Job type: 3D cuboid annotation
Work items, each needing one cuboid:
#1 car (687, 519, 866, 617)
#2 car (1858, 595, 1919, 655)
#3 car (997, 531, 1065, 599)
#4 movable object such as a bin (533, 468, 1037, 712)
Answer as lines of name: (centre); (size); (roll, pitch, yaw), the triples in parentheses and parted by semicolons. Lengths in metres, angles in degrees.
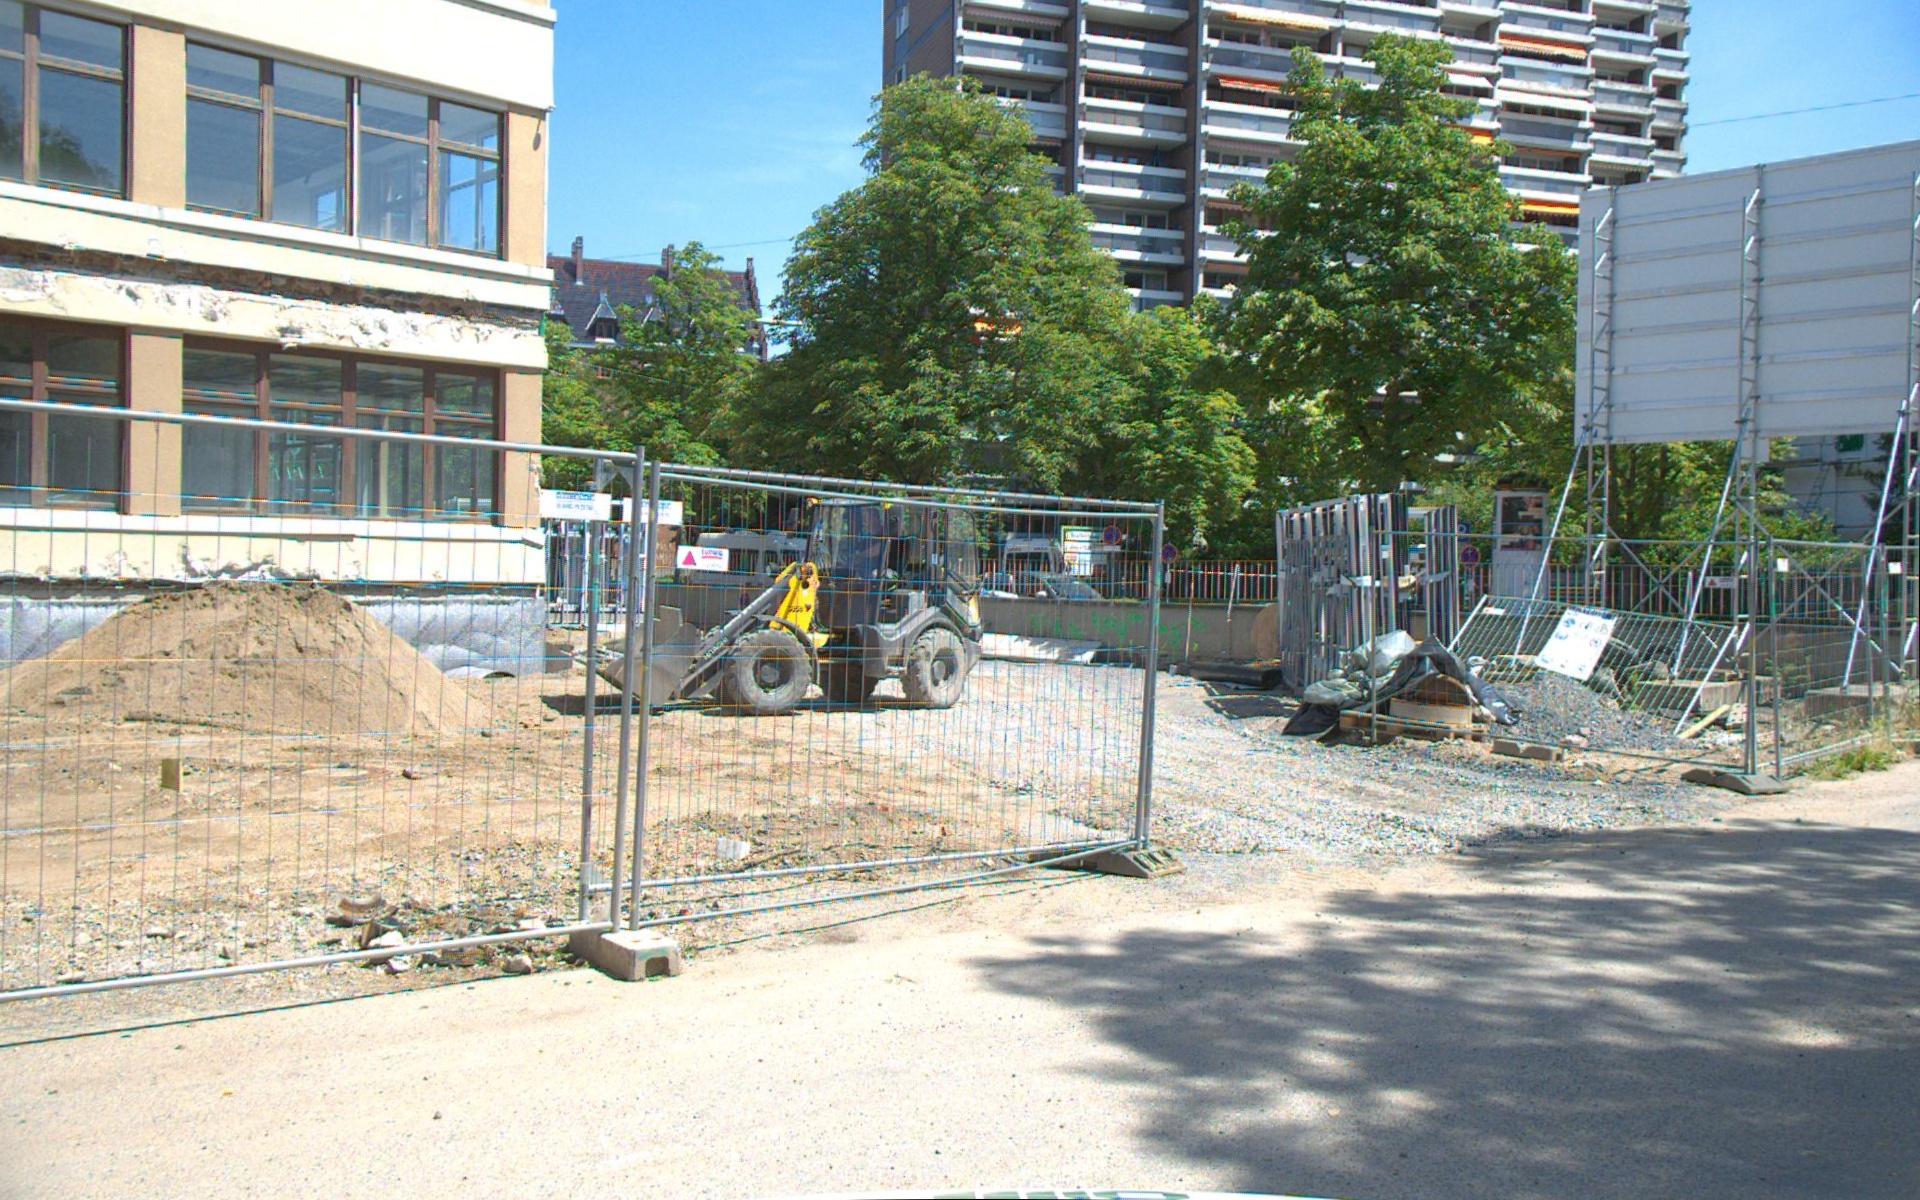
car: (-4.957, -0.848, 44.099); (1.985, 2.458, 5.157); (0, 1, -45)
car: (22.573, 0.567, 38.157); (1.874, 1.333, 3.933); (1, 1, 5)
car: (2.555, -1.233, 58.754); (2.138, 2.297, 4.872); (1, 1, 5)
movable object such as a bin: (-2.013, -0.067, 19.363); (5.342, 2.507, 2.346); (2, 1, -29)
